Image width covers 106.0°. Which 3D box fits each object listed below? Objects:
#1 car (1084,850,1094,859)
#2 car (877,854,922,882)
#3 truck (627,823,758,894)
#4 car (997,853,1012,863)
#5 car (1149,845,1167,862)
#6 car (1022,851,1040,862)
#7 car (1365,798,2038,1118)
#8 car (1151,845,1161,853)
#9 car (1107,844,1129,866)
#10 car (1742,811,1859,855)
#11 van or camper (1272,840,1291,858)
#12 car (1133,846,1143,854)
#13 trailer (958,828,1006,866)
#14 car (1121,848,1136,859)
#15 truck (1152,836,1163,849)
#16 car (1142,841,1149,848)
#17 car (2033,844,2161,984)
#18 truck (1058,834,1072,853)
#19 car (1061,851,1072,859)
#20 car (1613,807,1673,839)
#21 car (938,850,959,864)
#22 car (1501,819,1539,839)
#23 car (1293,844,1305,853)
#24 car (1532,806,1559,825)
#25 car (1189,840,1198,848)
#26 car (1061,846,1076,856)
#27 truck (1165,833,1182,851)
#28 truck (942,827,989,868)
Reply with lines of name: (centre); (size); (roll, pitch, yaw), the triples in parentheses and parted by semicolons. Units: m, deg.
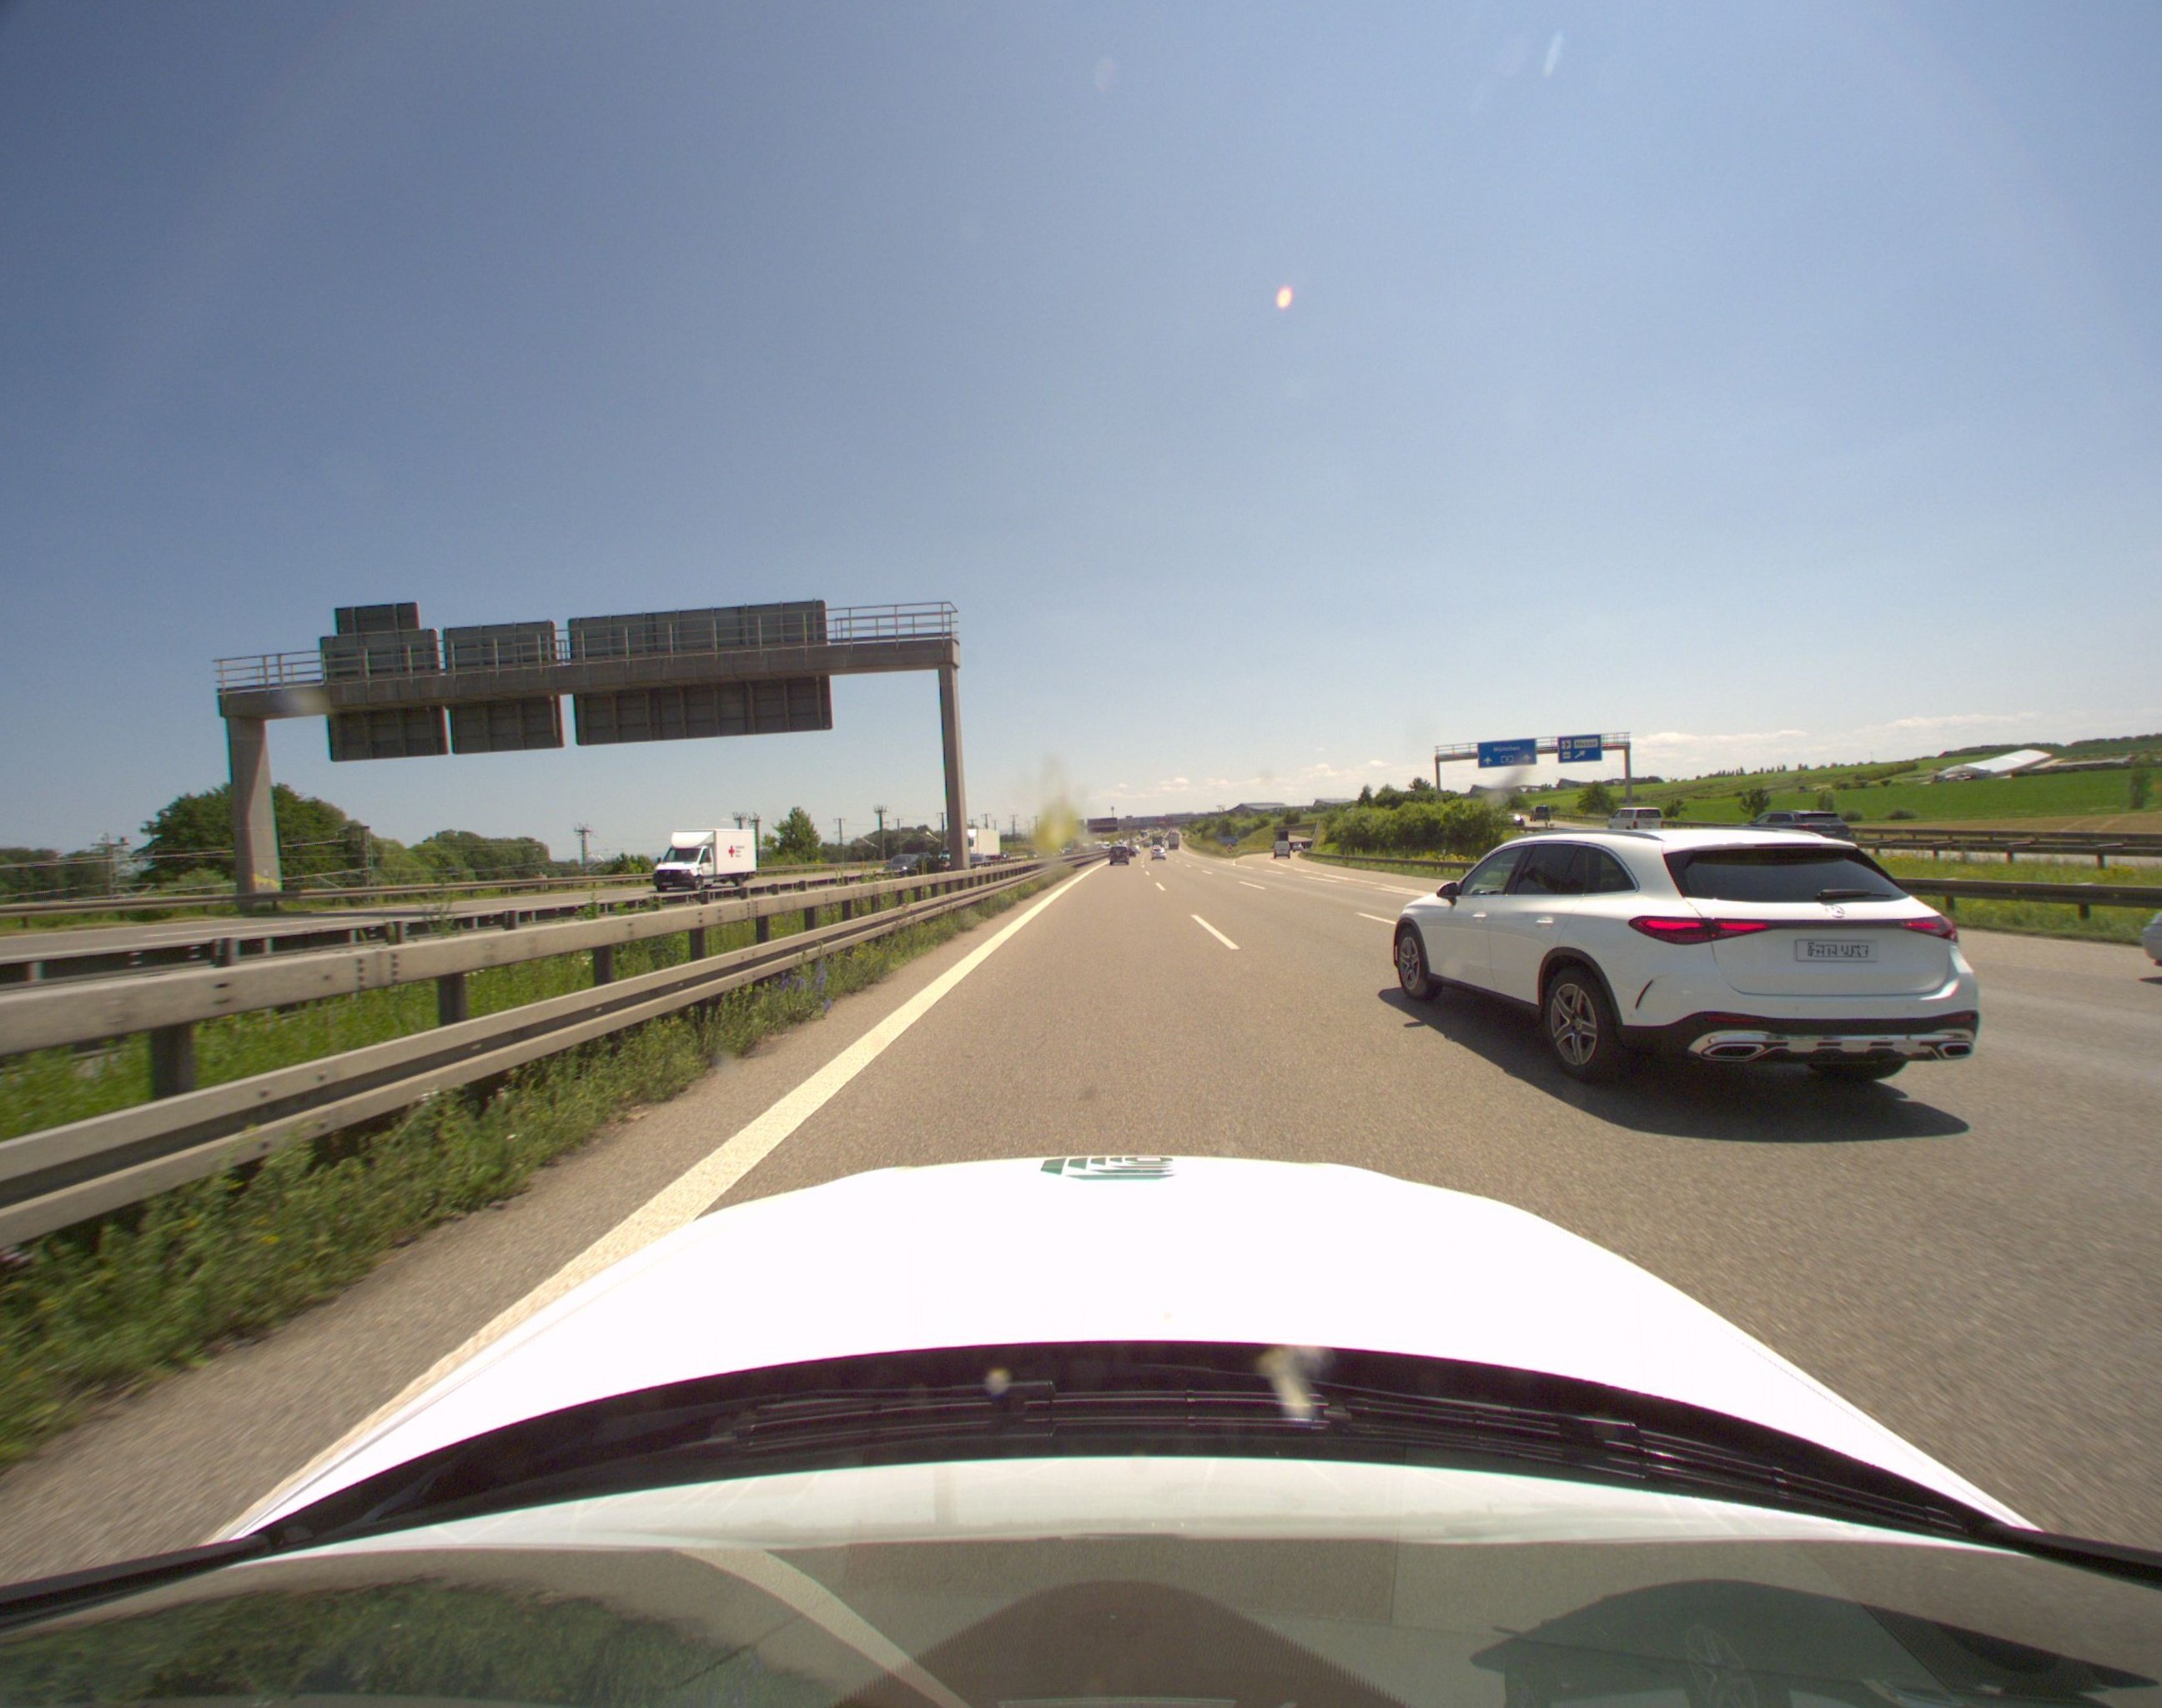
car: (1.705, 0.130, 173.156); (1.748, 1.741, 4.726); (-1, 0, 3)
car: (-11.281, 0.842, 50.837); (1.736, 1.561, 4.002); (-1, 0, 2)
truck: (-19.212, 0.190, 40.963); (2.311, 3.167, 8.118); (-1, 0, 3)
car: (-12.283, 0.648, 131.262); (1.688, 1.425, 4.459); (-1, 0, 3)
car: (9.227, -0.028, 97.726); (1.919, 1.919, 4.521); (-1, -1, 3)
car: (-7.064, 0.358, 114.962); (1.834, 1.460, 5.001); (-1, 0, 3)
car: (4.120, 0.569, 6.782); (1.891, 1.647, 5.000); (-1, -1, 2)
car: (14.738, -1.035, 160.218); (1.973, 1.473, 4.005); (-2, 0, 5)
car: (3.471, 0.124, 75.910); (1.918, 1.919, 4.953); (-1, -1, 4)
car: (28.647, -0.790, 32.600); (1.688, 1.575, 4.142); (-1, -1, 12)
van or camper: (23.462, -0.581, 95.445); (2.141, 2.014, 4.319); (-1, -1, 13)
car: (11.101, -0.814, 158.787); (1.567, 1.552, 3.972); (-1, -1, 7)
trailer: (-11.568, -0.726, 96.128); (3.207, 4.192, 11.425); (-1, 0, 5)
car: (7.175, -0.090, 121.867); (1.916, 1.627, 4.526); (-1, -1, 7)
truck: (19.816, -2.924, 211.436); (2.690, 3.109, 10.672); (-1, -1, 5)
car: (19.763, -2.803, 249.183); (2.177, 2.002, 4.005); (-1, 3, 3)
car: (11.958, 0.590, 7.101); (1.778, 1.437, 4.850); (-1, -1, 3)
truck: (-3.746, -2.478, 191.685); (2.748, 4.245, 6.982); (-1, -1, 2)
car: (-2.878, 0.252, 159.788); (1.748, 1.481, 4.639); (-1, 0, 3)
car: (38.023, -2.079, 55.183); (1.925, 1.923, 4.194); (-1, -1, 13)
car: (-17.503, 0.433, 108.021); (1.797, 1.748, 4.004); (-1, -1, 4)
car: (39.293, -2.229, 72.960); (1.979, 1.596, 4.015); (-1, -1, 14)
car: (44.709, -1.041, 167.199); (1.977, 1.750, 4.020); (-1, -1, 20)
car: (54.583, -4.522, 95.757); (1.923, 1.923, 4.200); (-1, -1, 19)
car: (31.701, -2.869, 229.512); (1.919, 1.918, 4.522); (-1, 2, 3)
car: (-1.934, -0.451, 127.277); (1.834, 1.460, 5.001); (-1, 0, 3)
truck: (23.704, -3.165, 209.035); (4.020, 4.261, 11.774); (-1, 2, 5)
truck: (-12.303, -0.694, 87.645); (3.232, 4.209, 7.704); (-1, 0, 5)
